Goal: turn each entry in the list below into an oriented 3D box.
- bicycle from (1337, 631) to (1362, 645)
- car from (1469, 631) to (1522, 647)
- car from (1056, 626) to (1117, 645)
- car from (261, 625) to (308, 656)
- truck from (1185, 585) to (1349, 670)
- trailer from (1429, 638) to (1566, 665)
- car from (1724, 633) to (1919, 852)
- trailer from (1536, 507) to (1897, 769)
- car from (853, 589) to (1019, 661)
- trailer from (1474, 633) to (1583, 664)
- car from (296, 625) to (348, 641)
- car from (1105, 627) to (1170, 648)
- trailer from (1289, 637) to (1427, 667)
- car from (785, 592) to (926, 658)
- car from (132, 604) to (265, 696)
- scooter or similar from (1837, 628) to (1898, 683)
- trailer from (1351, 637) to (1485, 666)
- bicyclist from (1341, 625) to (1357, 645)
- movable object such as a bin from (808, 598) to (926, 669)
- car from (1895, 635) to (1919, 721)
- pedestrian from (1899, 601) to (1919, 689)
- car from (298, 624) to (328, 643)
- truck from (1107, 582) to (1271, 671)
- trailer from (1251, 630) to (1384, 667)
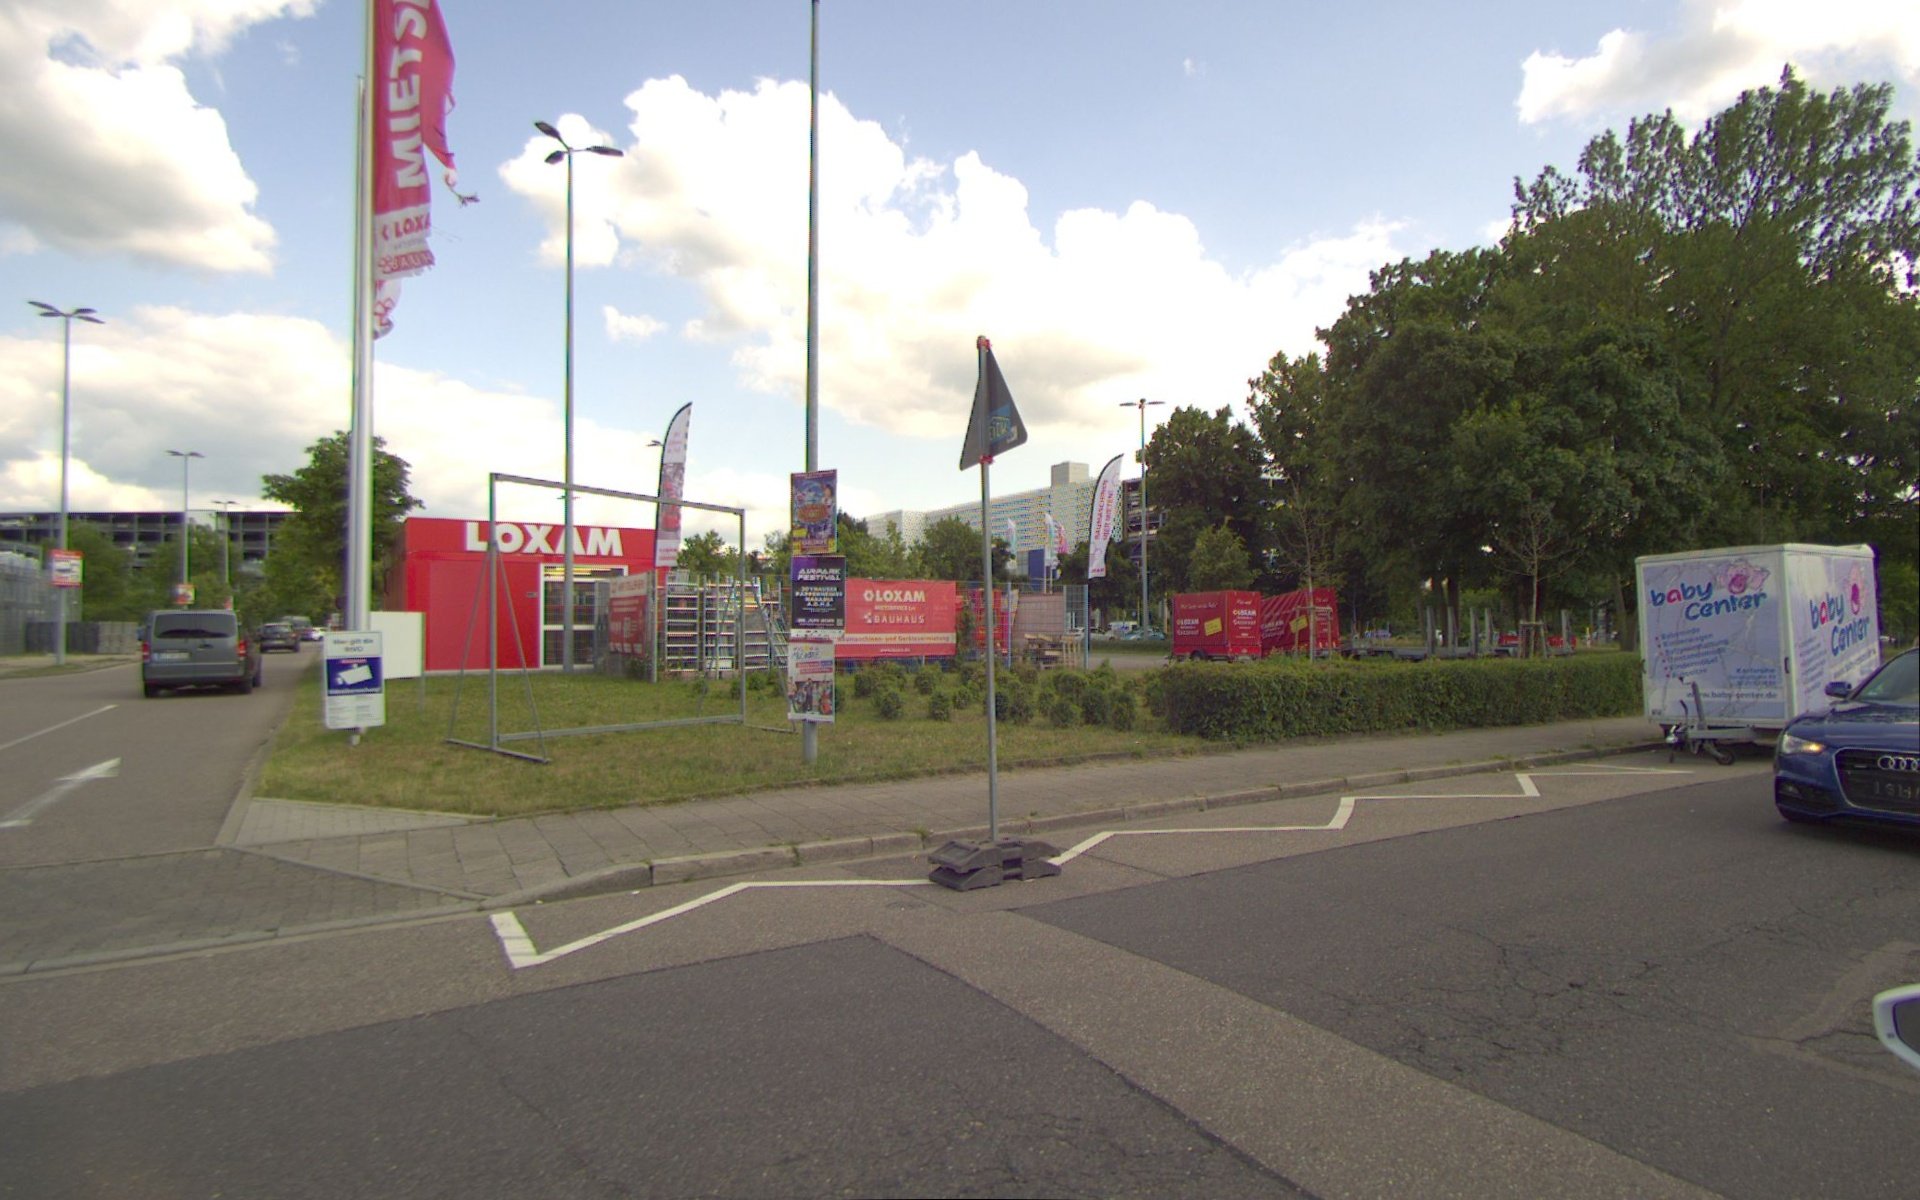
[{"bbox_3d":[33.241,3.257,85.741,0.723,1.181,1.797,0,-2,-36],"label":"bicycle"},{"bbox_3d":[49.384,3.557,92.636,1.779,1.424,3.994,1,-1,-33],"label":"car"},{"bbox_3d":[9.599,2.675,76.094,4.362,1.431,1.983,1,-2,-32],"label":"car"},{"bbox_3d":[-37.068,2.188,55.204,1.978,1.632,4.099,1,-1,-33],"label":"car"},{"bbox_3d":[10.208,0.933,33.901,1.759,2.627,5.521,3,-2,-30],"label":"truck"},{"bbox_3d":[21.982,2.087,41.277,2.159,0.925,4.580,0,-1,-26],"label":"trailer"},{"bbox_3d":[8.003,0.968,7.766,4.330,1.395,1.913,1,-1,-31],"label":"car"},{"bbox_3d":[9.806,0.498,12.955,4.651,2.819,2.128,1,-4,-32],"label":"trailer"},{"bbox_3d":[-0.912,1.076,40.539,6.366,2.627,2.254,3,-2,-31],"label":"car"},{"bbox_3d":[24.131,2.026,42.760,1.692,1.206,3.806,0,-1,-25],"label":"trailer"},{"bbox_3d":[-63.242,3.243,99.624,1.837,1.476,4.120,0,-1,15],"label":"car"},{"bbox_3d":[12.593,2.671,71.292,4.362,1.431,1.983,1,-2,-32],"label":"car"},{"bbox_3d":[14.299,1.848,36.275,2.137,0.924,4.210,3,-3,-33],"label":"trailer"},{"bbox_3d":[-4.491,1.130,43.592,5.659,2.627,2.254,3,-2,-31],"label":"car"},{"bbox_3d":[-17.303,1.082,23.038,2.088,1.869,4.517,1,-1,-33],"label":"car"},{"bbox_3d":[20.710,1.256,22.917,1.260,1.209,0.516,1,-1,-21],"label":"scooter or similar"},{"bbox_3d":[17.206,1.928,37.932,2.002,0.924,4.210,3,-3,-33],"label":"trailer"},{"bbox_3d":[33.238,3.023,85.762,0.727,1.669,1.000,0,-2,-36],"label":"bicyclist"},{"bbox_3d":[-3.150,1.126,34.119,3.505,2.305,1.983,1,-1,-32],"label":"movable object such as a bin"},{"bbox_3d":[18.802,1.350,18.174,4.189,1.498,1.756,1,-4,-33],"label":"car"},{"bbox_3d":[22.859,1.064,23.727,0.875,2.040,0.805,1,-1,-32],"label":"pedestrian"},{"bbox_3d":[-57.279,2.960,88.990,1.949,1.650,4.086,1,-1,-30],"label":"car"},{"bbox_3d":[7.283,0.869,32.651,1.794,2.627,5.730,3,-2,-29],"label":"truck"},{"bbox_3d":[12.343,1.673,34.901,1.654,1.135,4.210,3,-3,-33],"label":"trailer"}]
